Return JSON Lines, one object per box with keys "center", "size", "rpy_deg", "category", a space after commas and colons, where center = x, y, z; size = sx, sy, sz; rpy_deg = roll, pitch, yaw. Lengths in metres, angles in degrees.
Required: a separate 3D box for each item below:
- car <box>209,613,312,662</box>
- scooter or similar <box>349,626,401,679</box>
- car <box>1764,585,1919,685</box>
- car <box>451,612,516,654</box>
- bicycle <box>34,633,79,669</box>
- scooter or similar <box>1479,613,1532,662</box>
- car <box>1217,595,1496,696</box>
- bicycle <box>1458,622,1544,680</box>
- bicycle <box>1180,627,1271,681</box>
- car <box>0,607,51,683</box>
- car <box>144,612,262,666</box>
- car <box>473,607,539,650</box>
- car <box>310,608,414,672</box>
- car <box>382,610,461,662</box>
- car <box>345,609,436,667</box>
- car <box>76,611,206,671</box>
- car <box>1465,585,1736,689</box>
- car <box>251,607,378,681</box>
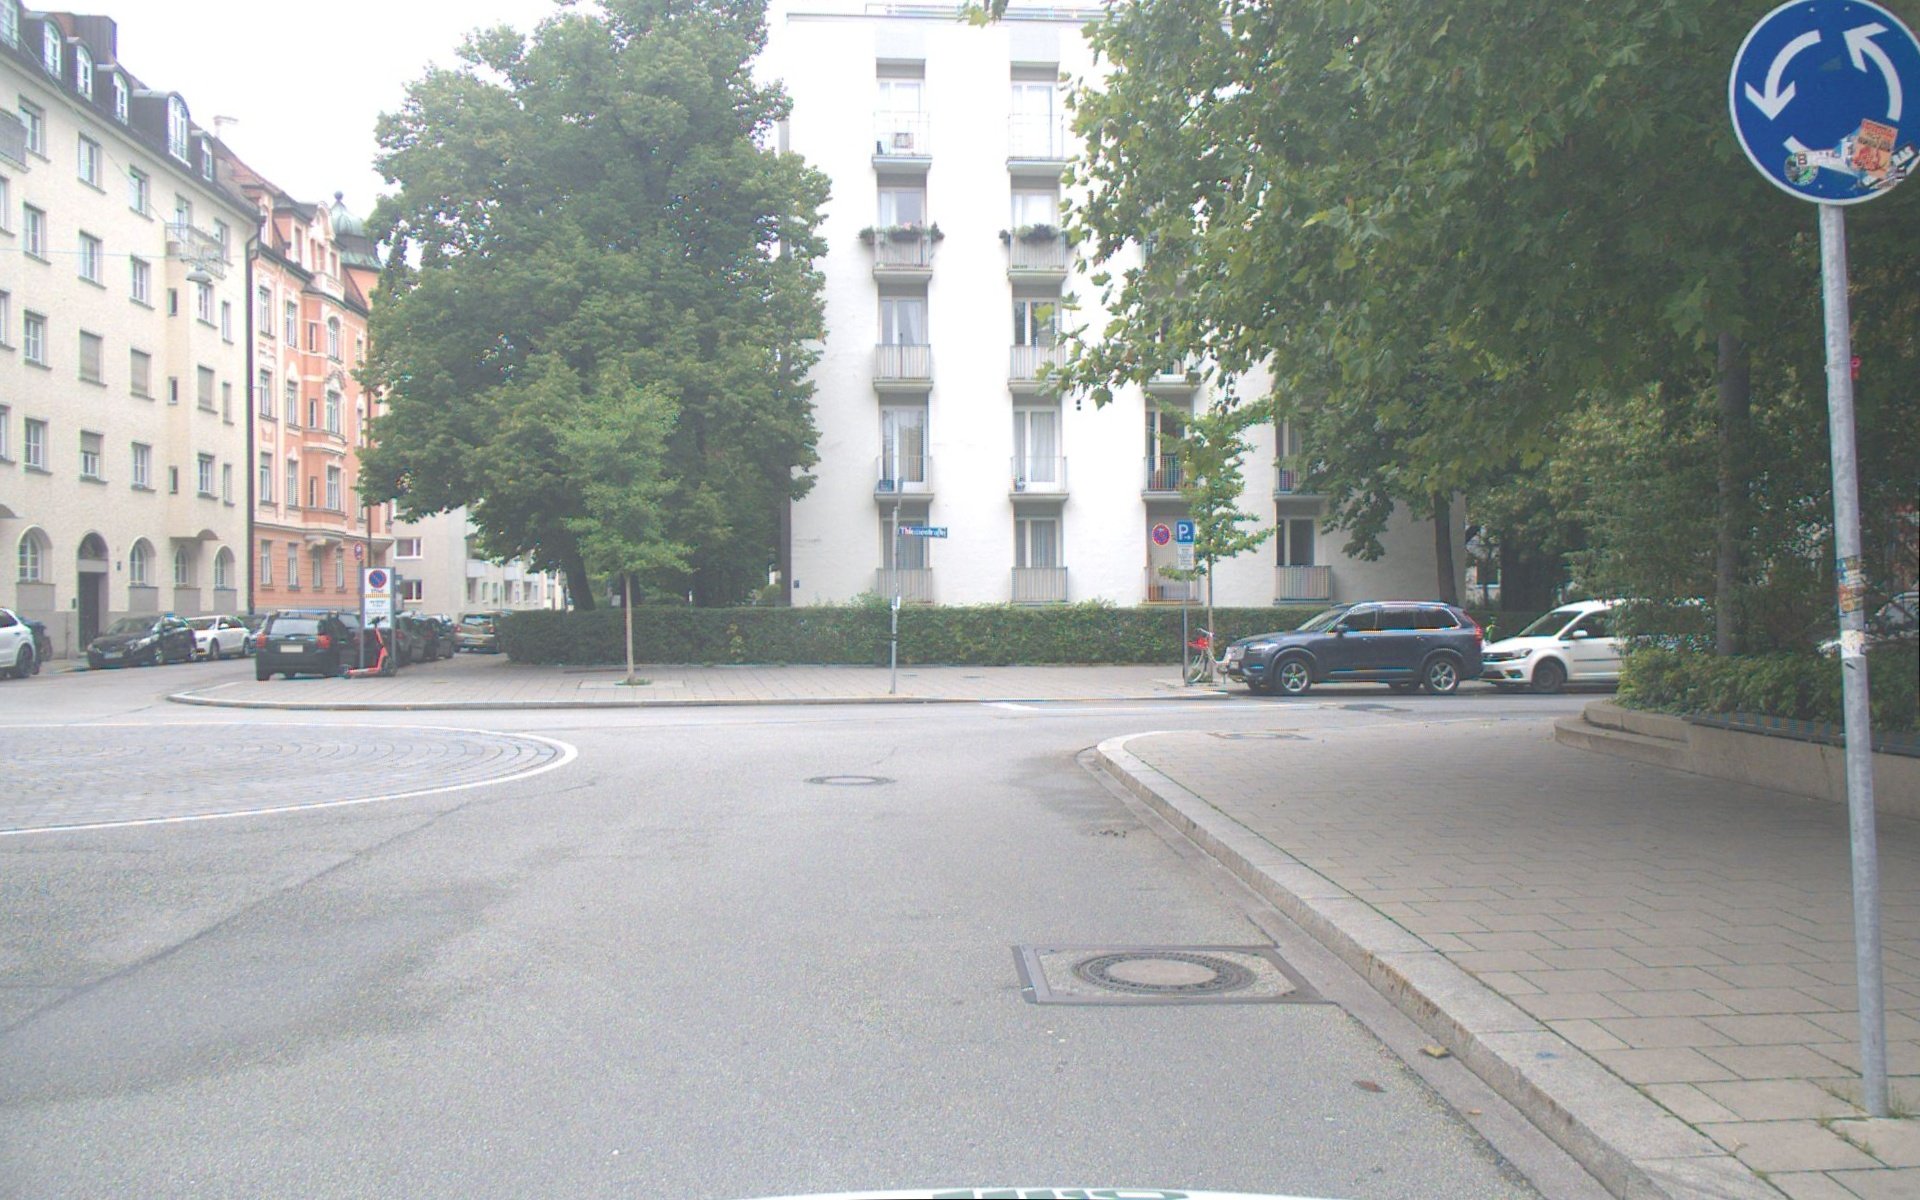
{"center": [-24.374, 1.274, 57.812], "size": [1.936, 1.608, 4.405], "rpy_deg": [0, 0, -3], "category": "car"}
{"center": [-12.456, 1.114, 35.249], "size": [0.989, 1.108, 0.386], "rpy_deg": [0, -1, -33], "category": "scooter or similar"}
{"center": [19.366, 0.703, 33.983], "size": [5.103, 1.967, 1.886], "rpy_deg": [0, -1, -14], "category": "car"}
{"center": [-18.464, 1.259, 64.240], "size": [1.801, 1.531, 4.108], "rpy_deg": [-2, 0, -8], "category": "car"}
{"center": [-28.059, 1.582, 51.398], "size": [0.552, 1.067, 1.828], "rpy_deg": [-1, 0, -5], "category": "bicycle"}
{"center": [13.488, 0.927, 40.911], "size": [1.188, 1.214, 0.399], "rpy_deg": [0, -1, -7], "category": "scooter or similar"}
{"center": [7.554, 0.859, 31.725], "size": [4.807, 1.823, 1.995], "rpy_deg": [0, -1, -10], "category": "car"}
{"center": [11.345, 1.057, 34.722], "size": [0.530, 1.169, 1.810], "rpy_deg": [0, 0, -32], "category": "bicycle"}
{"center": [5.455, 1.105, 33.966], "size": [1.795, 1.067, 0.489], "rpy_deg": [-1, 0, -16], "category": "bicycle"}
{"center": [-22.613, 1.015, 37.291], "size": [1.937, 1.730, 4.835], "rpy_deg": [0, 0, -5], "category": "car"}
{"center": [-24.010, 1.211, 52.662], "size": [1.936, 1.608, 4.405], "rpy_deg": [0, 0, -3], "category": "car"}
{"center": [-18.843, 1.149, 68.834], "size": [1.799, 1.663, 4.112], "rpy_deg": [-2, 0, -4], "category": "car"}
{"center": [-15.468, 1.005, 42.994], "size": [1.761, 1.531, 4.225], "rpy_deg": [-2, 0, -10], "category": "car"}
{"center": [-17.274, 1.128, 53.201], "size": [1.761, 1.531, 4.105], "rpy_deg": [-2, 0, -10], "category": "car"}
{"center": [-16.293, 1.058, 47.502], "size": [1.761, 1.531, 4.105], "rpy_deg": [-2, 0, -10], "category": "car"}
{"center": [-23.573, 1.135, 47.802], "size": [1.938, 1.644, 4.704], "rpy_deg": [0, 0, -8], "category": "car"}
{"center": [12.633, 0.719, 32.738], "size": [4.746, 1.952, 1.831], "rpy_deg": [0, -1, -11], "category": "car"}
{"center": [-14.664, 0.951, 37.802], "size": [1.785, 1.531, 4.412], "rpy_deg": [-2, 0, -10], "category": "car"}
